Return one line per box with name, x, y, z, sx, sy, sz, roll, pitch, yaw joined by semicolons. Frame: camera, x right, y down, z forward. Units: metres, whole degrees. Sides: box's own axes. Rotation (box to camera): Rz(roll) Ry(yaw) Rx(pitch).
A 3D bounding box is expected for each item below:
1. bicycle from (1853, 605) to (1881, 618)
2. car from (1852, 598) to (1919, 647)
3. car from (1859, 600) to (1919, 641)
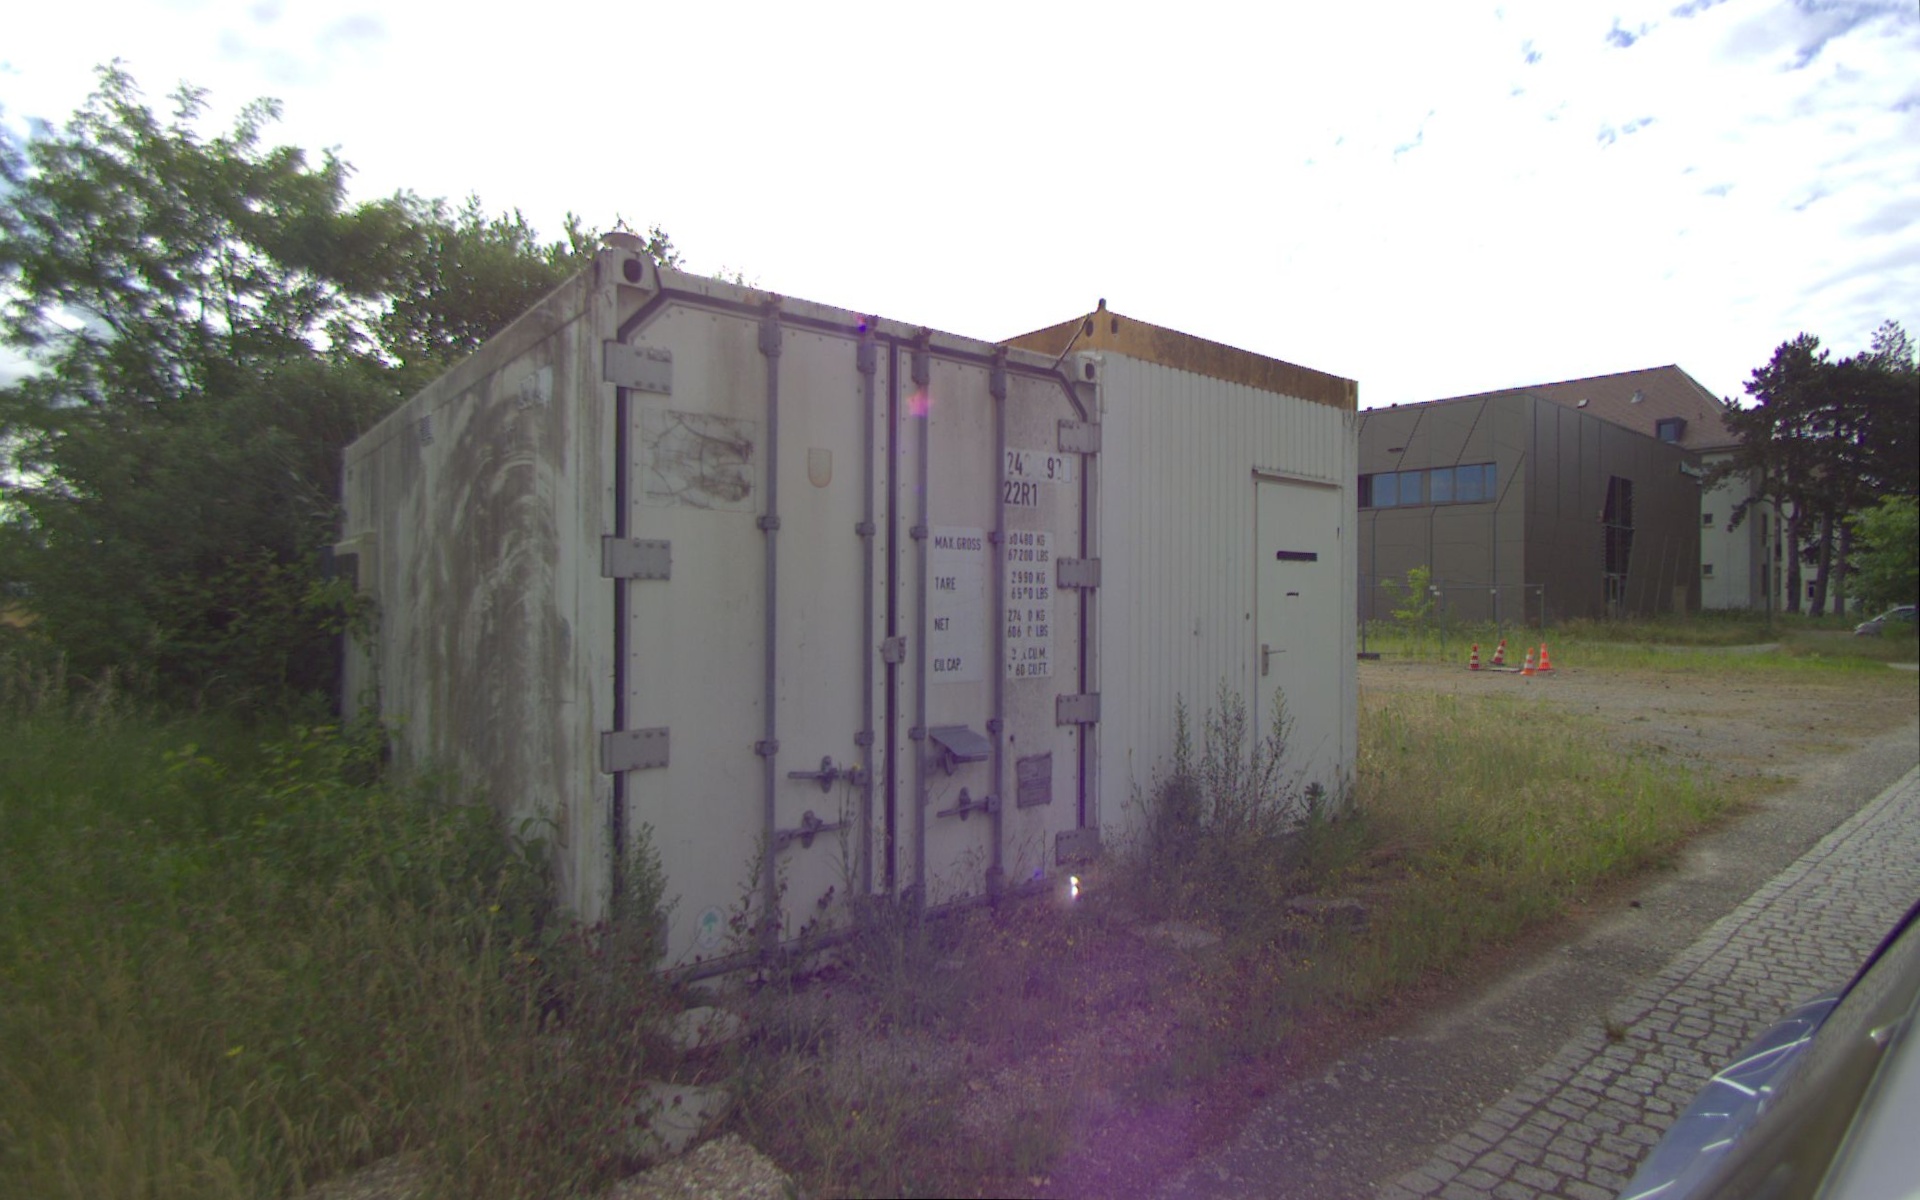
bicycle;74.371;0.939;82.964;0.604;1.099;1.653;1;-1;-43
car;31.625;0.749;33.633;1.623;1.576;2.717;1;1;-38
car;37.103;0.818;38.250;1.799;1.493;4.497;0;1;-42
